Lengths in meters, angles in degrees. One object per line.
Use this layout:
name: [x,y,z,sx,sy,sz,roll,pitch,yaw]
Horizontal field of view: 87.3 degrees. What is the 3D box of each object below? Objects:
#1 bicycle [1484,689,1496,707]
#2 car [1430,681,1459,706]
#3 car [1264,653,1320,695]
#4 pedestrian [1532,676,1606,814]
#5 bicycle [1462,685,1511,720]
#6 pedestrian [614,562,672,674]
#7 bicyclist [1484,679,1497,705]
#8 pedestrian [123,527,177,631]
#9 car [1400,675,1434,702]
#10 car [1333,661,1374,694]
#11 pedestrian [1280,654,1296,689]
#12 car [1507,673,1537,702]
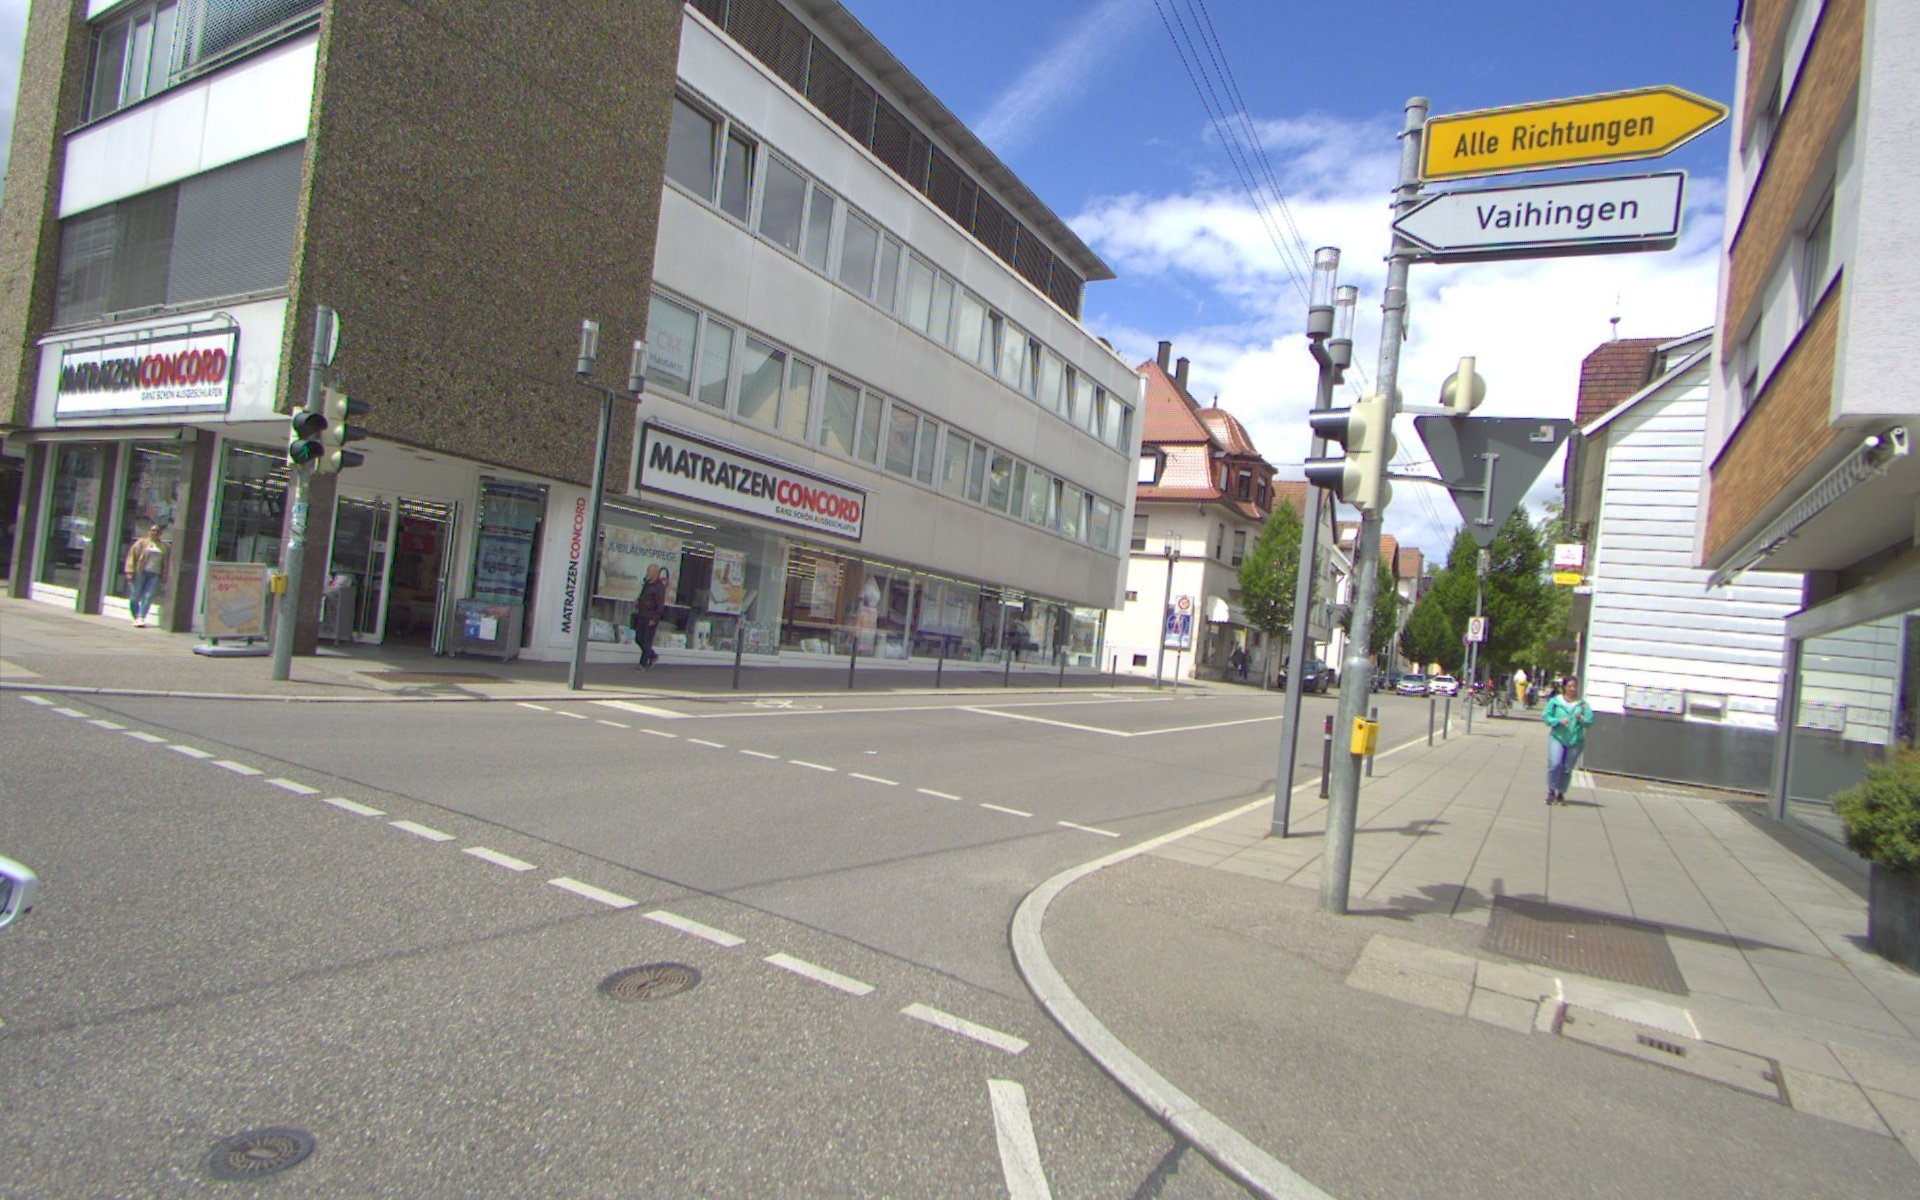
bicycle: [37.627,6.960,71.391,0.552,1.233,1.716,4,-3,31]
car: [36.780,7.119,76.371,1.794,1.669,4.000,4,-4,27]
car: [15.696,3.514,47.395,1.794,1.669,4.000,4,-4,27]
pedestrian: [7.402,1.740,12.241,0.518,1.577,0.590,5,-2,15]
bicycle: [21.609,4.220,41.307,1.689,1.234,0.561,4,-3,30]
pedestrian: [-5.126,0.291,16.288,0.608,1.728,0.580,6,2,0]
bicyclist: [37.760,6.571,71.613,0.682,1.781,0.944,4,-3,32]
pedestrian: [-11.957,-0.310,14.850,0.493,1.478,0.502,6,2,45]
car: [28.708,5.568,63.093,1.676,1.413,4.000,4,-4,27]
car: [23.741,4.709,60.546,1.794,1.669,4.000,4,-4,27]
pedestrian: [16.919,3.660,51.899,0.569,1.728,0.619,6,2,22]
car: [41.408,6.485,74.067,1.652,1.817,3.812,4,-4,32]
